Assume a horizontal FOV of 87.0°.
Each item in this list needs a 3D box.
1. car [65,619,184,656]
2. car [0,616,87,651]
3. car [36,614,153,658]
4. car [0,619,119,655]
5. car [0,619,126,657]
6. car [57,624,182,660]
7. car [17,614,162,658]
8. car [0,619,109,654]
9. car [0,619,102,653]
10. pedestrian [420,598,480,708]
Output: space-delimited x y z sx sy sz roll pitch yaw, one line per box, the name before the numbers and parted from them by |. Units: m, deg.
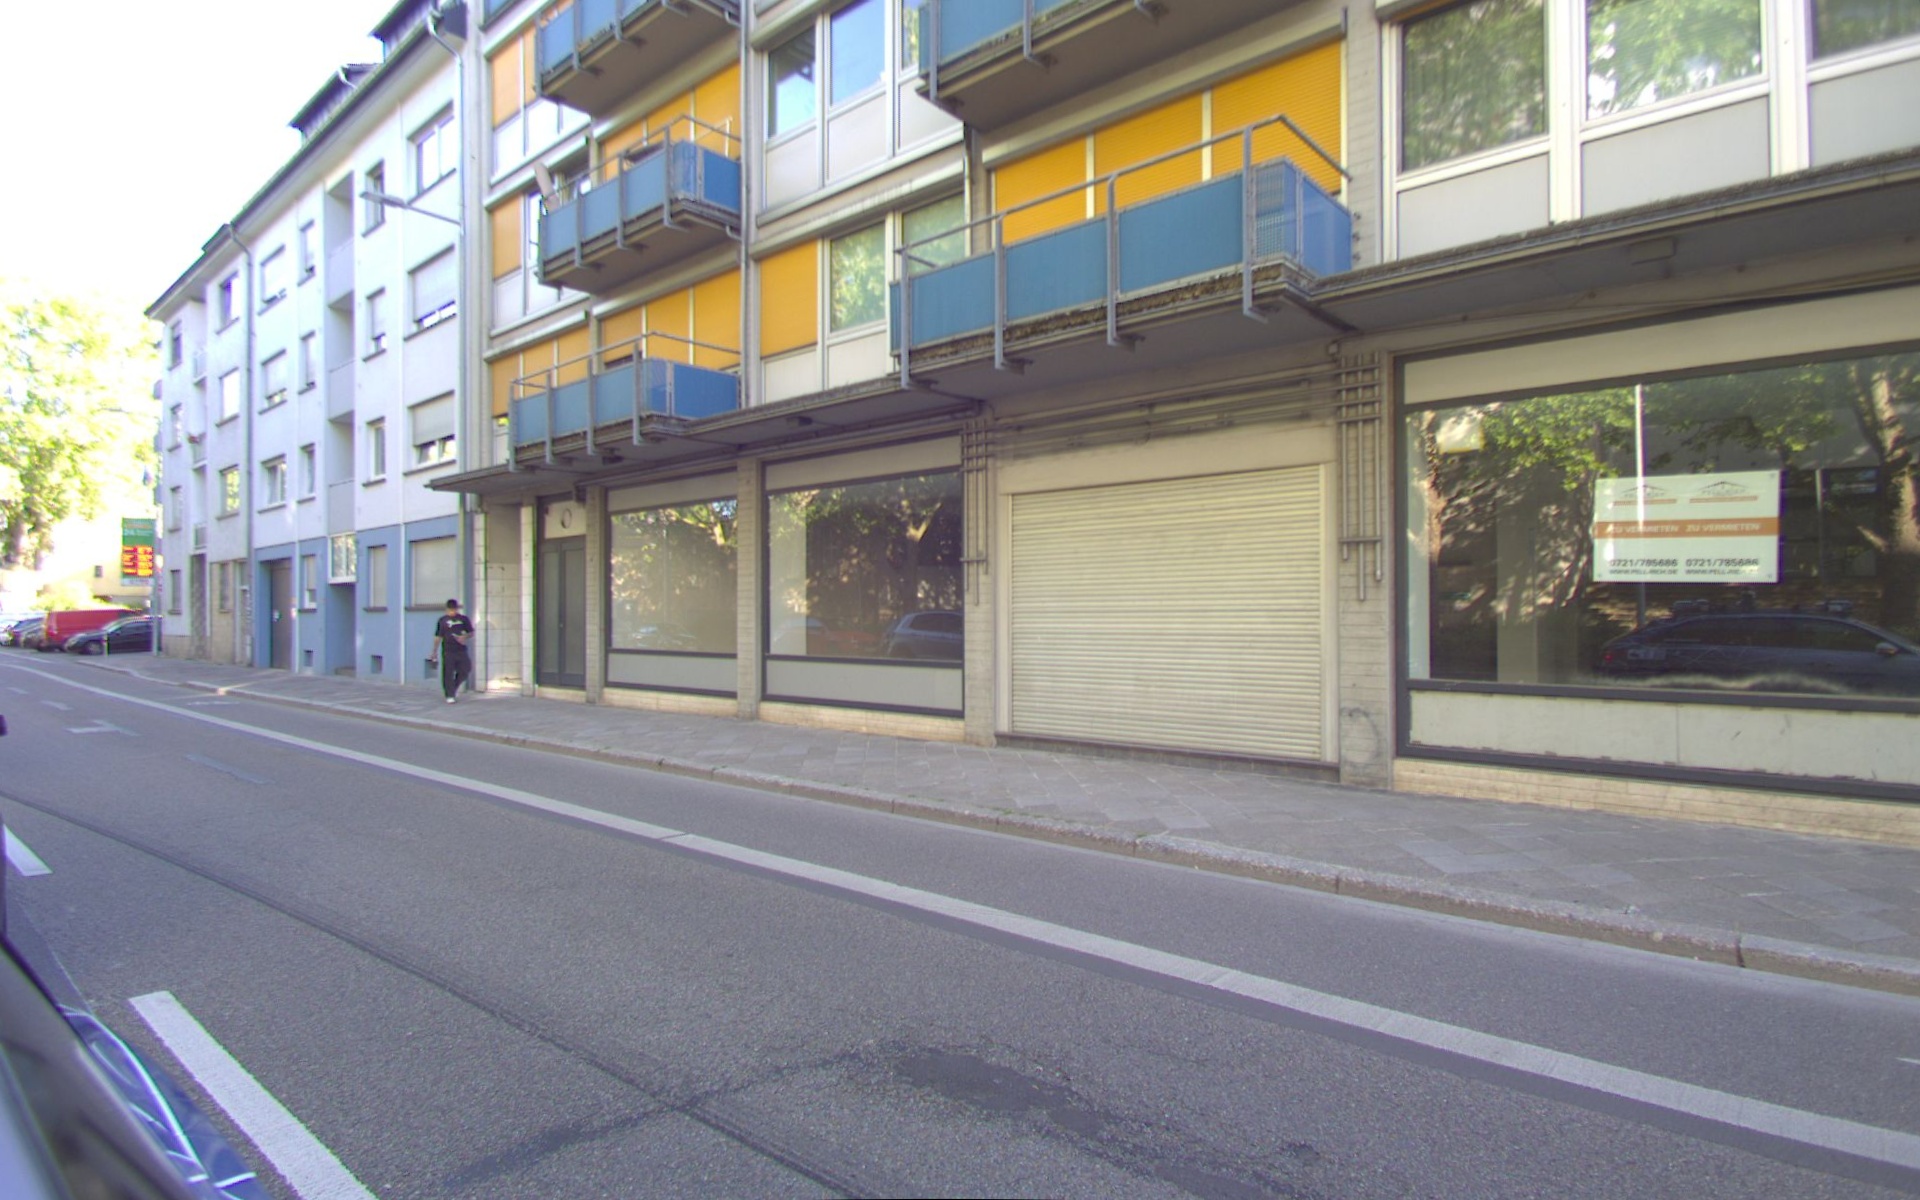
car | -37.876 1.684 45.944 1.742 1.572 3.946 -1 -1 41
car | -59.344 2.106 64.713 2.186 2.164 5.077 -1 -1 41
car | -40.589 1.640 47.517 1.866 1.952 3.946 -1 -1 41
car | -52.236 2.117 58.719 2.159 1.952 4.990 -1 -1 41
car | -50.297 2.094 56.831 2.186 1.952 5.077 -1 -1 41
car | -36.552 1.793 44.078 1.742 1.431 3.946 -1 -1 41
car | -42.690 1.707 49.715 2.256 1.995 5.156 -1 -1 41
car | -54.122 2.138 60.356 2.082 1.952 4.928 -1 -1 41
car | -55.970 2.166 61.987 2.314 1.952 4.978 -1 -1 41
pedestrian | -8.594 0.873 17.049 0.793 1.785 0.654 -2 -1 43
